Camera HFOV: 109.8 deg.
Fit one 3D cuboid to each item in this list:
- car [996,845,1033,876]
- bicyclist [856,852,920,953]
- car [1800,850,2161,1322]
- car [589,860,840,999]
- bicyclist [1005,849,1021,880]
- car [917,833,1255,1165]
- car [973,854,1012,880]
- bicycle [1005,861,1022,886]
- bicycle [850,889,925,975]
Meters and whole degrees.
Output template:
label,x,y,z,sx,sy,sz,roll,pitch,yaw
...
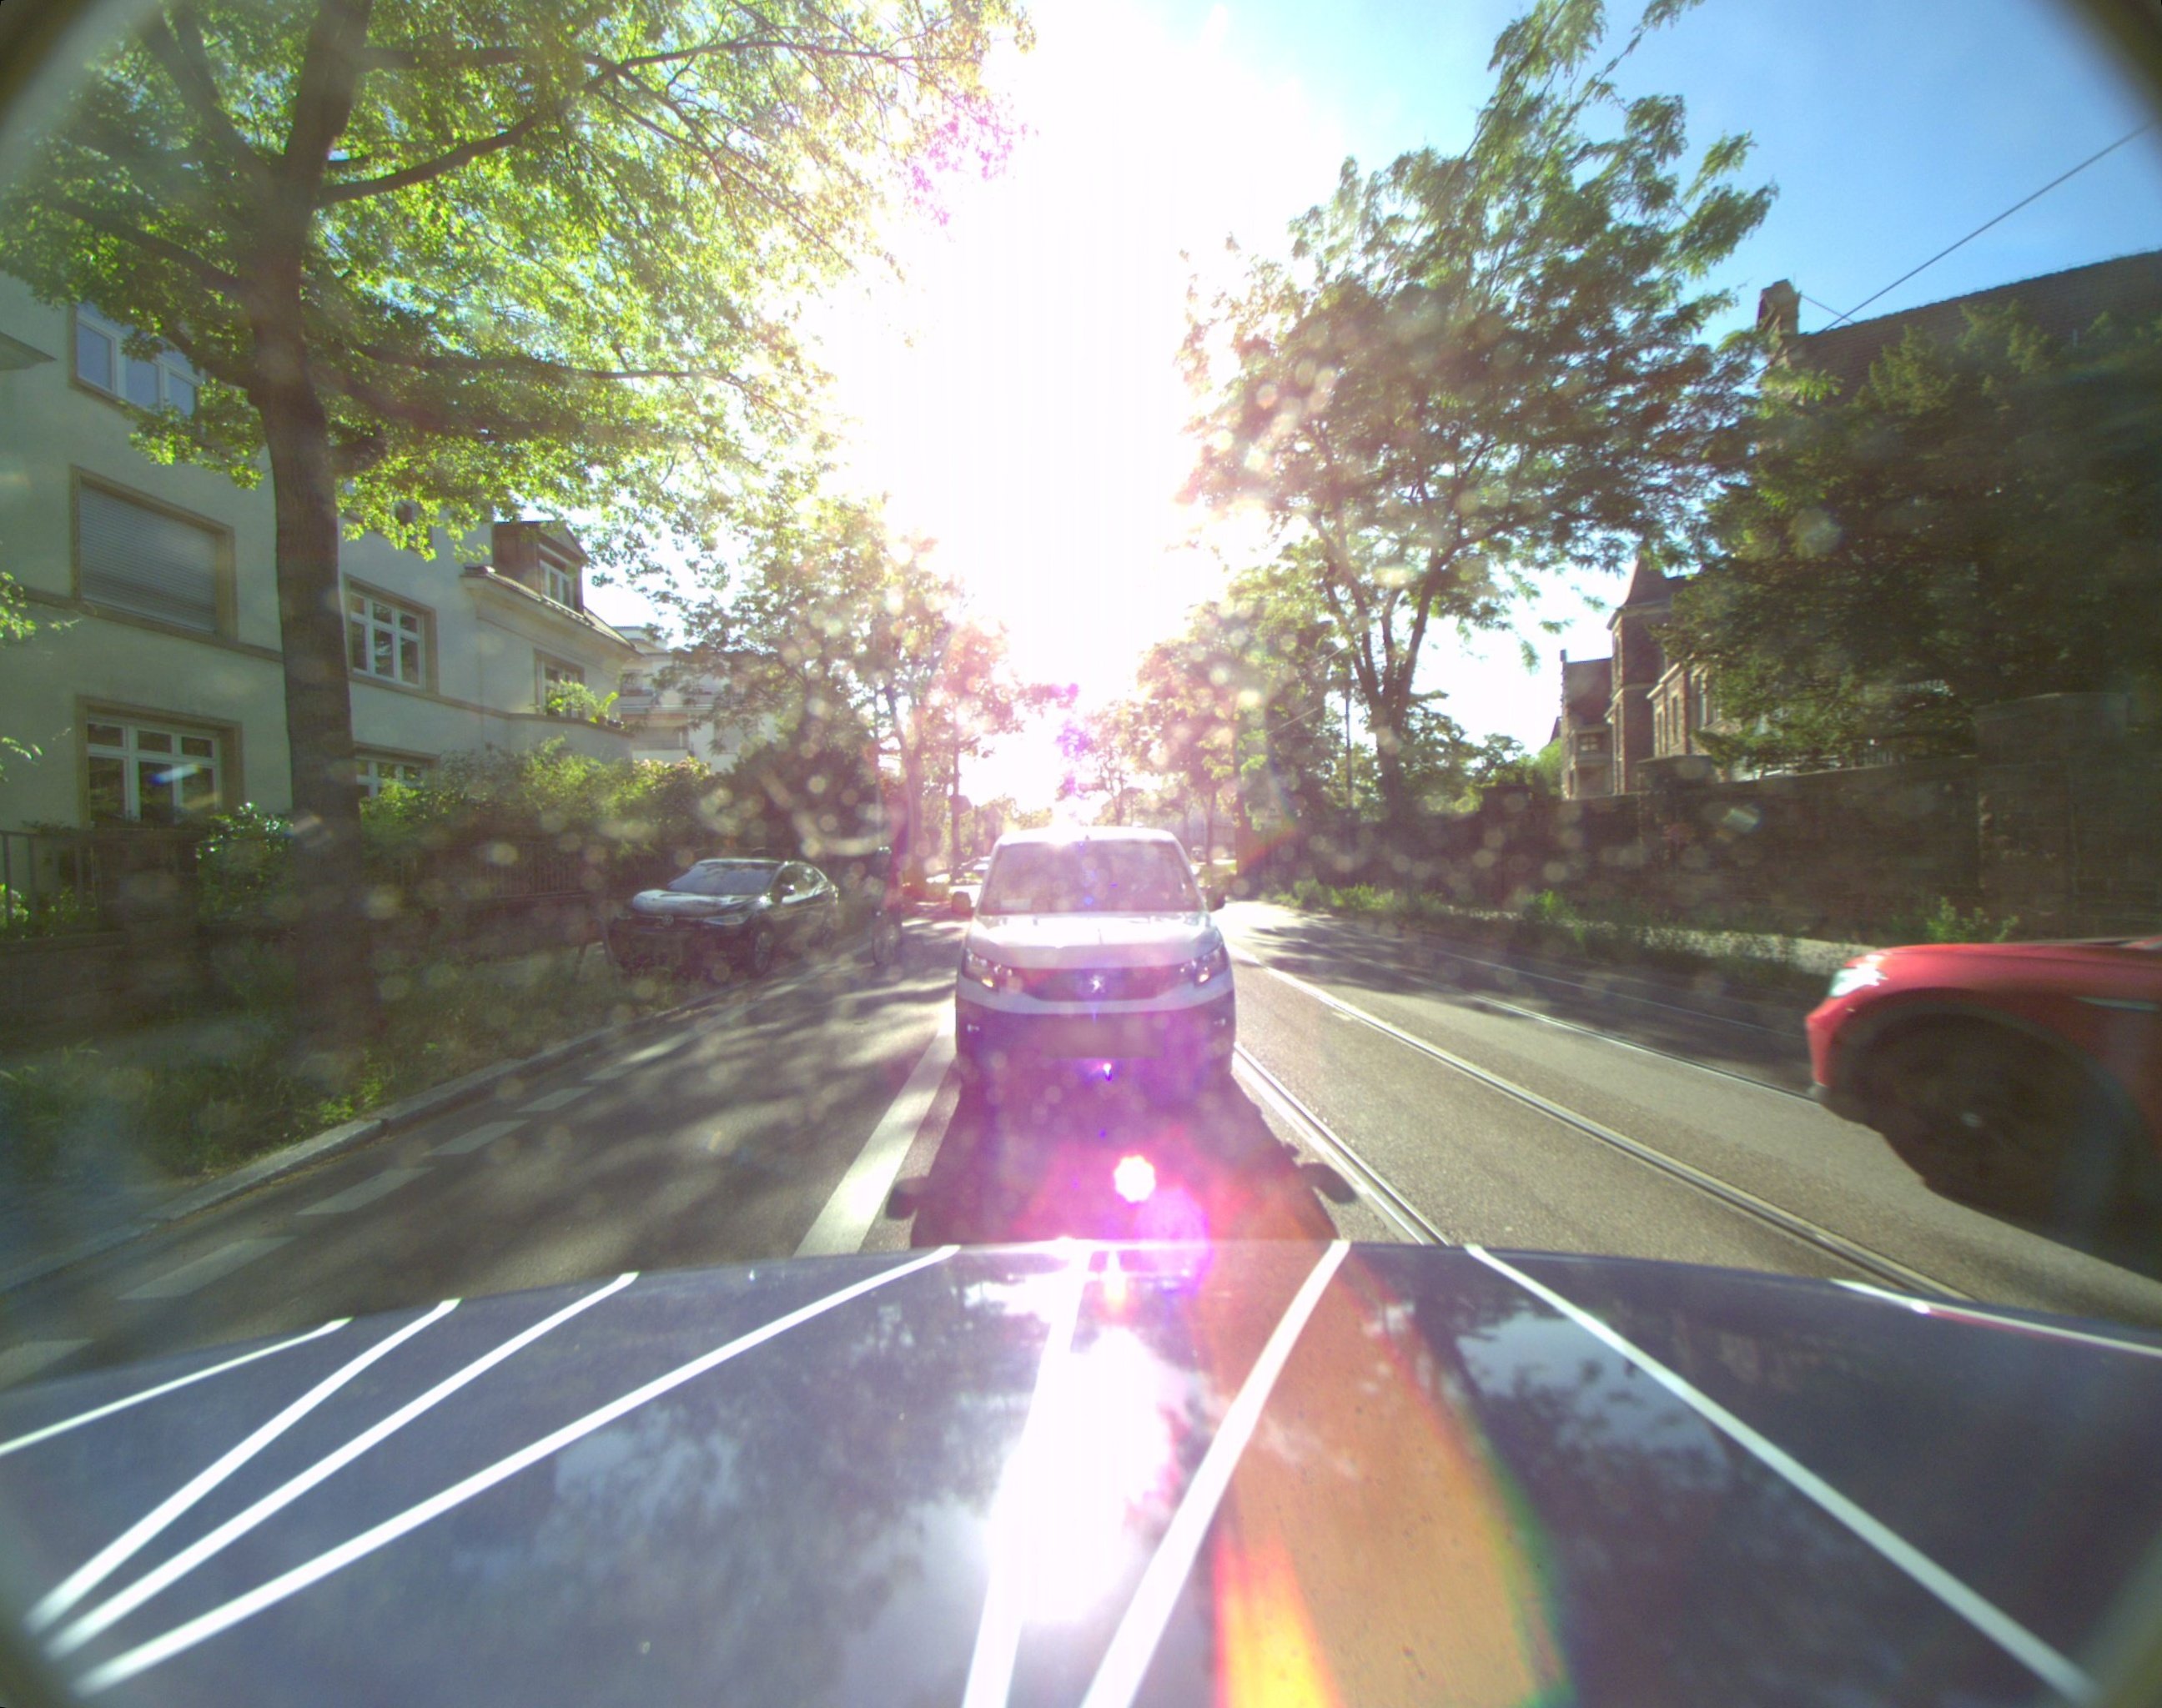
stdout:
label,x,y,z,sx,sy,sz,roll,pitch,yaw
car,-4.506,0.430,51.924,1.998,2.002,4.583,-2,0,1
bicyclist,-3.011,0.725,11.961,0.645,1.479,1.115,-2,1,1
car,4.854,0.797,1.752,1.824,1.597,4.354,-2,0,-13
car,-5.161,0.946,11.399,1.743,1.597,4.091,2,0,0
bicyclist,-3.336,0.498,37.395,0.623,1.479,1.115,-2,0,1
car,0.045,0.786,6.531,1.793,1.770,4.786,-2,0,0
car,-5.257,0.752,45.458,1.787,1.443,4.000,-2,0,1
bicycle,-3.317,0.950,37.404,0.644,1.137,1.815,-1,0,1
bicycle,-3.000,1.175,11.955,0.644,1.137,1.902,-1,0,1
